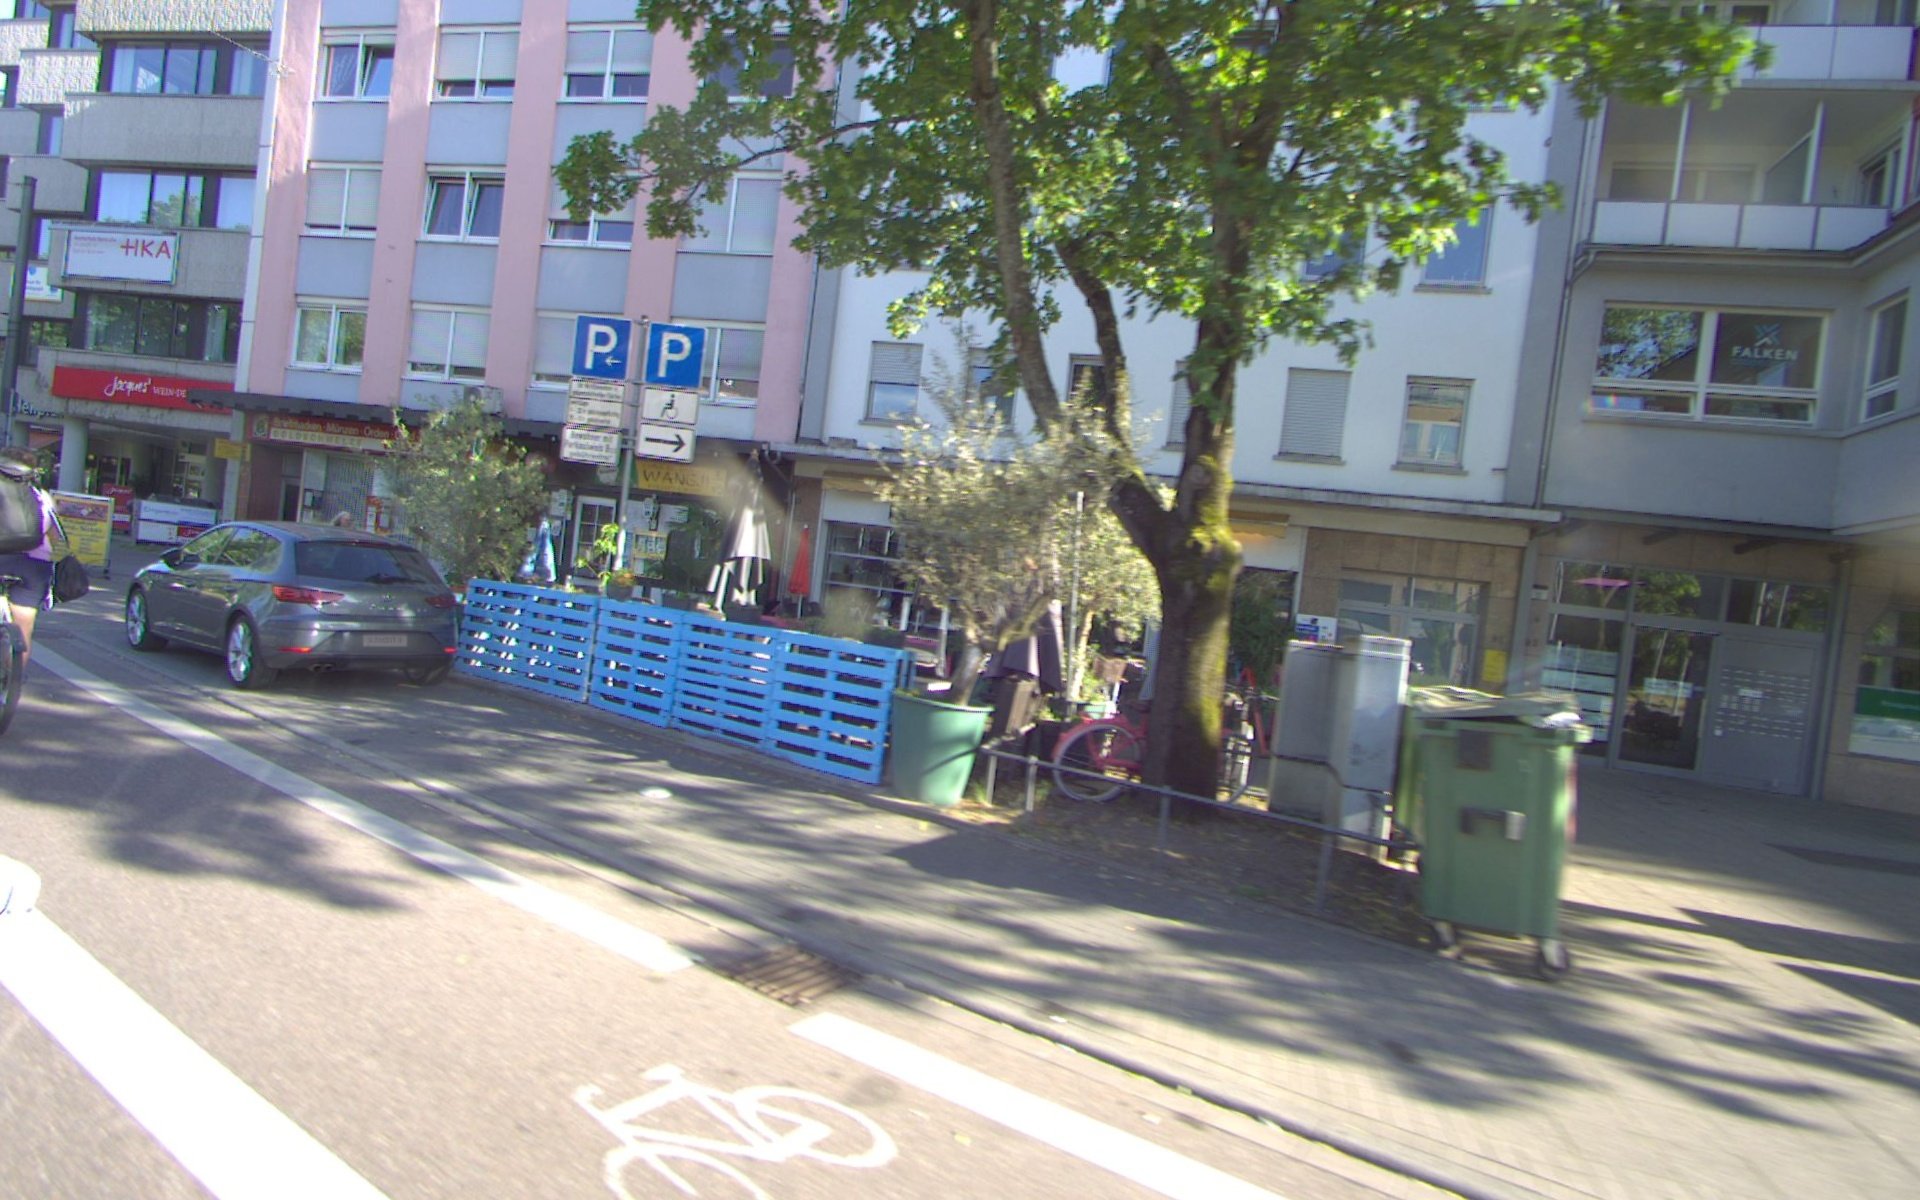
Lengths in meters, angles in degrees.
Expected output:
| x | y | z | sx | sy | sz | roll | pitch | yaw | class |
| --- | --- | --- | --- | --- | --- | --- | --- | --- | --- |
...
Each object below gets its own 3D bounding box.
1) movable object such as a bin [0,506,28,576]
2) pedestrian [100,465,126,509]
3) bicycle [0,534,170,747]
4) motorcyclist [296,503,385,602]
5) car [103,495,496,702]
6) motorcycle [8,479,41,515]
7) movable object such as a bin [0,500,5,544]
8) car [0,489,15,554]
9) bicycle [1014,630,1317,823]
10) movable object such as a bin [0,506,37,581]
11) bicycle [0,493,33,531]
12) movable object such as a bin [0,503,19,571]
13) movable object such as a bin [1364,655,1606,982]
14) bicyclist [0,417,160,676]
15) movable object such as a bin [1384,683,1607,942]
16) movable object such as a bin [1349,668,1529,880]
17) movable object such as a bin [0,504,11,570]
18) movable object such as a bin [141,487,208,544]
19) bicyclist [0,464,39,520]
| x | y | z | sx | sy | sz | roll | pitch | yaw | class |
| --- | --- | --- | --- | --- | --- | --- | --- | --- | --- |
| -15.391 | -0.969 | 16.011 | 0.601 | 1.081 | 0.619 | 6 | -1 | 35 | movable object such as a bin |
| -38.350 | -5.114 | 45.559 | 0.700 | 1.837 | 0.710 | 7 | -1 | -36 | pedestrian |
| -6.181 | 0.167 | 6.383 | 2.189 | 1.149 | 0.888 | 6 | -1 | 26 | bicycle |
| -10.834 | -0.826 | 17.601 | 0.792 | 1.569 | 0.899 | 6 | -1 | 29 | motorcyclist |
| -6.747 | -0.097 | 10.085 | 4.512 | 1.457 | 1.765 | 8 | 1 | 36 | car |
| -33.395 | -3.667 | 35.924 | 0.760 | 1.170 | 2.024 | 3 | 2 | -42 | motorcycle |
| -16.797 | -1.211 | 17.128 | 0.536 | 1.081 | 0.605 | 6 | -1 | 35 | movable object such as a bin |
| -22.745 | -1.940 | 22.477 | 4.535 | 1.359 | 1.850 | 6 | -2 | 41 | car |
| 1.627 | 1.004 | 7.854 | 2.145 | 1.266 | 0.892 | 7 | 1 | -30 | bicycle |
| -14.844 | -0.892 | 15.611 | 0.561 | 1.095 | 0.573 | 6 | -1 | 35 | movable object such as a bin |
| -25.269 | -2.356 | 26.795 | 2.041 | 0.902 | 0.534 | 6 | -1 | 40 | bicycle |
| -15.824 | -1.055 | 16.358 | 0.488 | 1.081 | 0.591 | 6 | -1 | 35 | movable object such as a bin |
| 2.858 | 1.082 | 5.437 | 0.907 | 1.408 | 1.282 | 6 | -1 | 32 | movable object such as a bin |
| -5.970 | -0.342 | 6.314 | 0.971 | 1.501 | 1.041 | 7 | -1 | 26 | bicyclist |
| 3.408 | 1.293 | 6.542 | 0.910 | 1.372 | 1.177 | 7 | -1 | 16 | movable object such as a bin |
| 3.707 | 1.295 | 7.920 | 0.941 | 1.407 | 1.218 | 7 | -1 | 16 | movable object such as a bin |
| -16.300 | -1.090 | 16.688 | 0.603 | 1.081 | 0.606 | 6 | -1 | 34 | movable object such as a bin |
| -22.880 | -2.446 | 29.305 | 1.332 | 1.414 | 1.107 | 8 | -1 | -44 | movable object such as a bin |
| -25.214 | -2.867 | 26.819 | 0.980 | 1.342 | 0.757 | 6 | -1 | 40 | bicyclist |
